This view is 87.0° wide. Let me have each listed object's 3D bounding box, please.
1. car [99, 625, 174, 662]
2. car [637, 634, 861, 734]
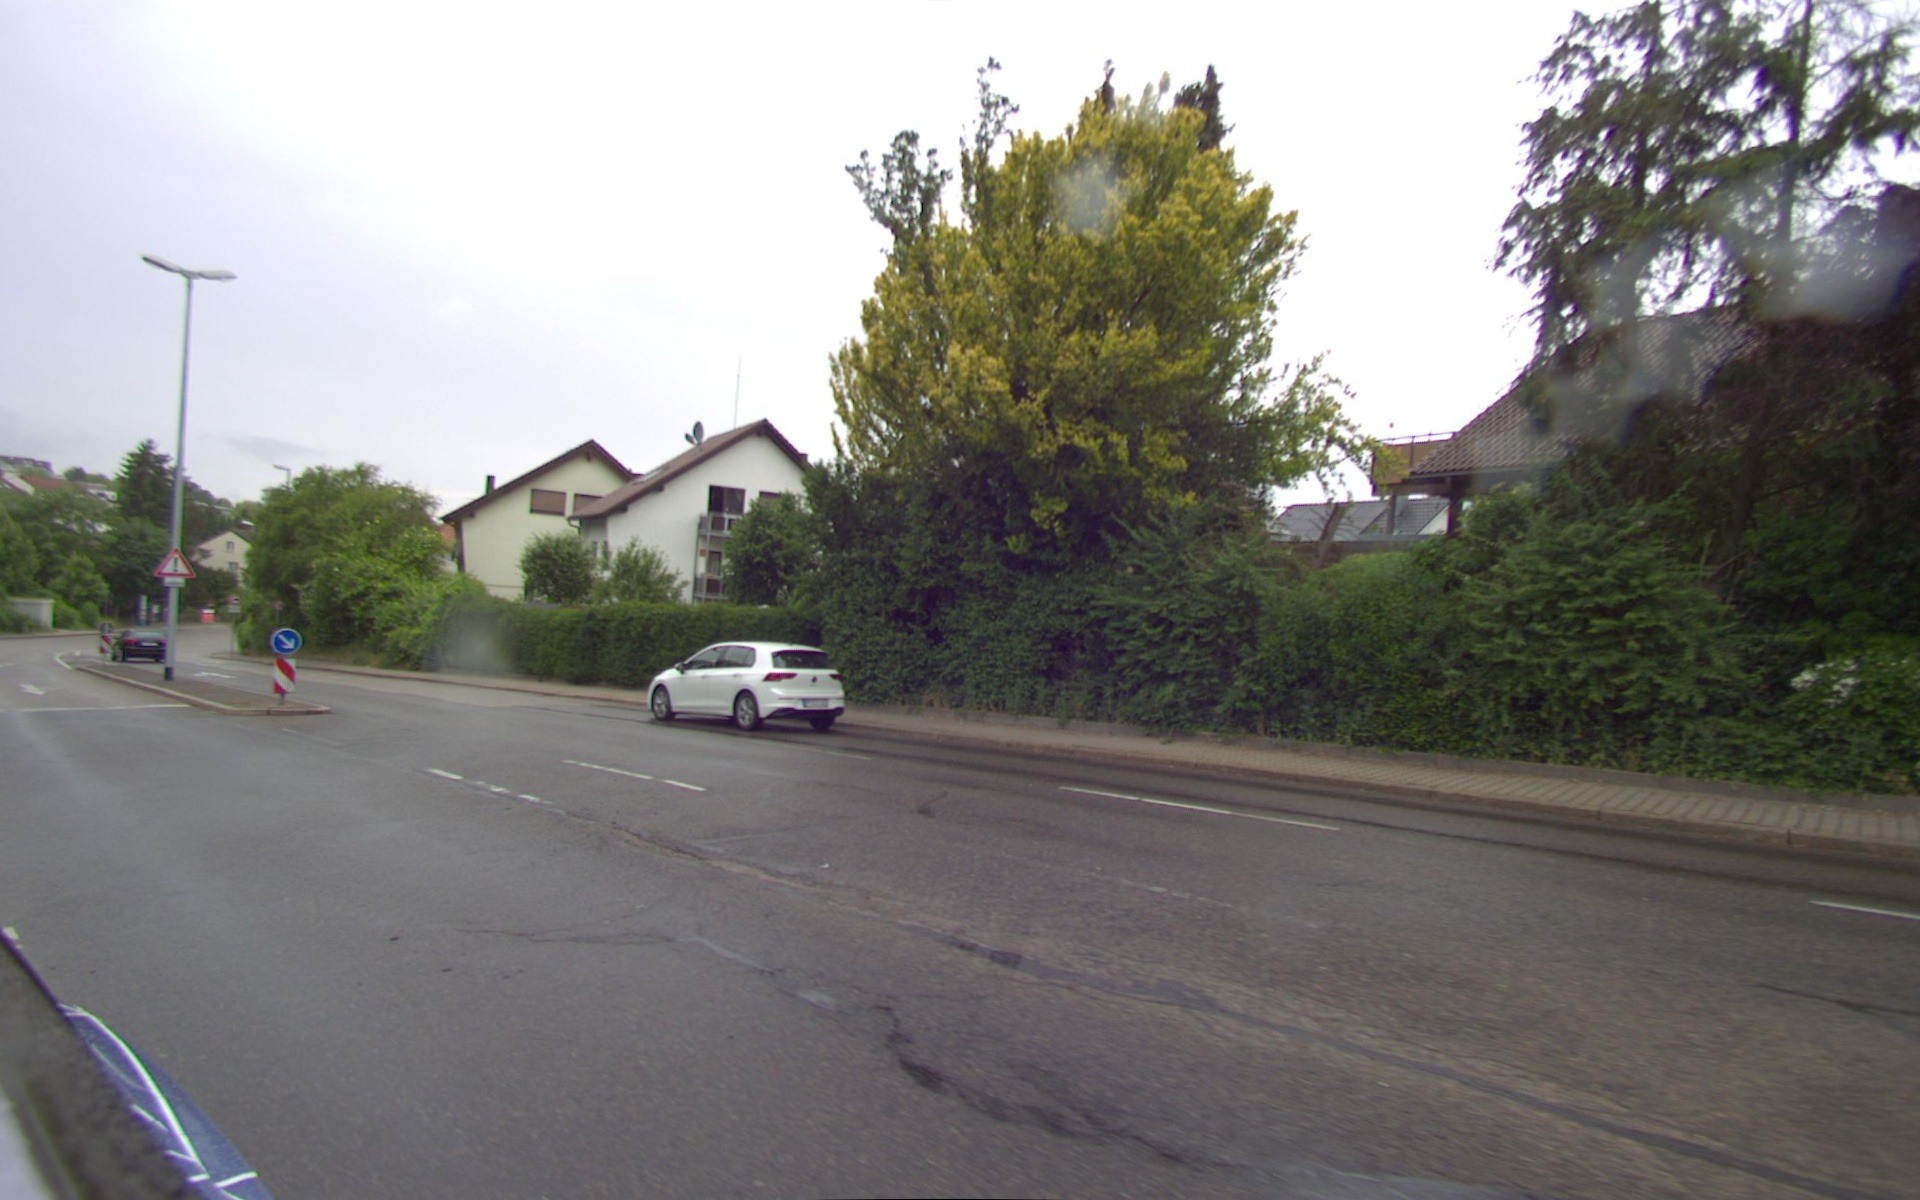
[{"bbox_3d":[-35.145,1.851,43.177,3.832,1.504,1.843,-1,-4,42],"label":"car"},{"bbox_3d":[-3.762,1.404,17.644,4.157,1.497,1.708,-1,-5,44],"label":"car"}]
